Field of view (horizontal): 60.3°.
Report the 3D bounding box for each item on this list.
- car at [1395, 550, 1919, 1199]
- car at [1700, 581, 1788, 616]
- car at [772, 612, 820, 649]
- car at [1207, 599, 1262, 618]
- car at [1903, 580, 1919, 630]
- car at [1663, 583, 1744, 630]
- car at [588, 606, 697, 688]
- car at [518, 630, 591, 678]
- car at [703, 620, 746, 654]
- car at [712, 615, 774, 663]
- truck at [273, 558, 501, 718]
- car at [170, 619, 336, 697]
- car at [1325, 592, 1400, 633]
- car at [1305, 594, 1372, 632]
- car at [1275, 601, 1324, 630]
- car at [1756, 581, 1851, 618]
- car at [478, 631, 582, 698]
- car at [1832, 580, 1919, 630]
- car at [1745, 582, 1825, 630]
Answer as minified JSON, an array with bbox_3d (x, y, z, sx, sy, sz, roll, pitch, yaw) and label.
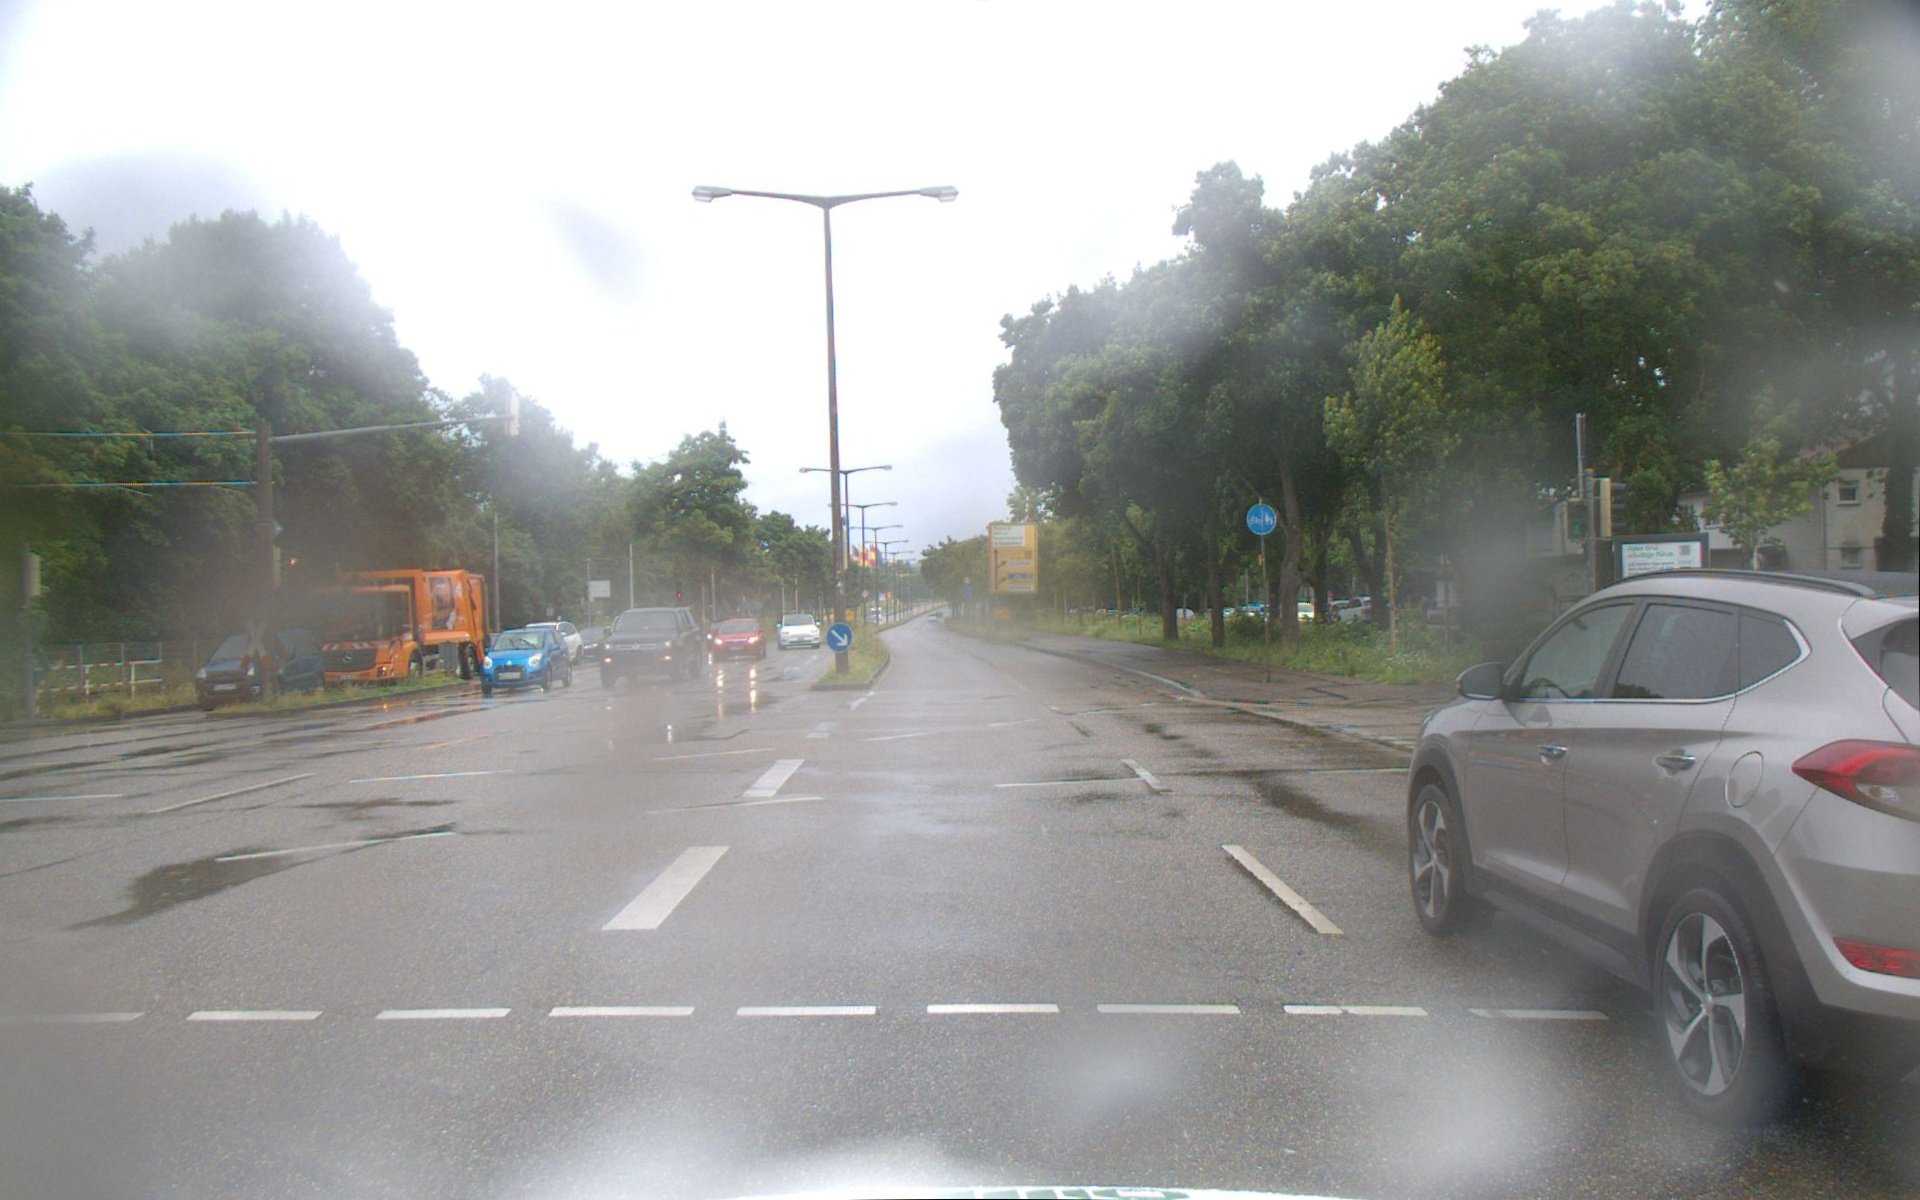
[{"bbox_3d":[3.114,0.708,6.153,1.846,1.638,4.195,1,0,-1],"label":"car"},{"bbox_3d":[31.001,-0.034,65.496,1.541,1.339,3.699,0,-1,-4],"label":"car"},{"bbox_3d":[-7.840,1.442,79.405,1.921,1.645,4.695,-2,0,-1],"label":"car"},{"bbox_3d":[24.300,0.783,146.649,4.482,1.674,1.997,0,-1,-7],"label":"car"},{"bbox_3d":[29.731,0.162,49.557,3.723,1.475,1.578,1,-2,-44],"label":"car"},{"bbox_3d":[24.509,0.232,54.442,1.637,1.475,3.736,-1,-1,37],"label":"car"},{"bbox_3d":[-7.797,1.116,41.071,1.769,1.804,5.087,-3,0,-1],"label":"car"},{"bbox_3d":[-16.358,2.152,66.917,1.954,1.860,4.768,0,-1,-3],"label":"car"},{"bbox_3d":[-12.727,1.985,89.618,1.672,1.670,4.330,-3,-1,-1],"label":"car"},{"bbox_3d":[-7.987,1.447,61.103,1.765,1.597,4.426,-3,-1,-2],"label":"car"},{"bbox_3d":[-16.757,1.115,49.445,3.316,4.241,10.403,0,-1,-1],"label":"truck"},{"bbox_3d":[-16.636,1.330,39.194,1.953,1.739,4.526,0,-1,0],"label":"car"},{"bbox_3d":[18.328,0.582,75.467,1.954,1.747,4.875,-2,-1,-3],"label":"car"},{"bbox_3d":[18.518,0.667,81.065,1.954,1.747,4.638,-2,-1,-3],"label":"car"},{"bbox_3d":[18.221,0.839,88.833,1.605,1.512,4.070,0,-1,-3],"label":"car"},{"bbox_3d":[33.482,-0.002,65.767,1.552,1.410,3.997,0,-1,-3],"label":"car"},{"bbox_3d":[-10.370,1.520,40.146,1.608,1.452,3.997,-3,-1,-3],"label":"car"},{"bbox_3d":[28.283,0.179,50.750,3.723,1.475,1.643,1,-2,-44],"label":"car"},{"bbox_3d":[26.460,0.213,53.009,1.637,1.475,3.736,-1,-1,37],"label":"car"}]
